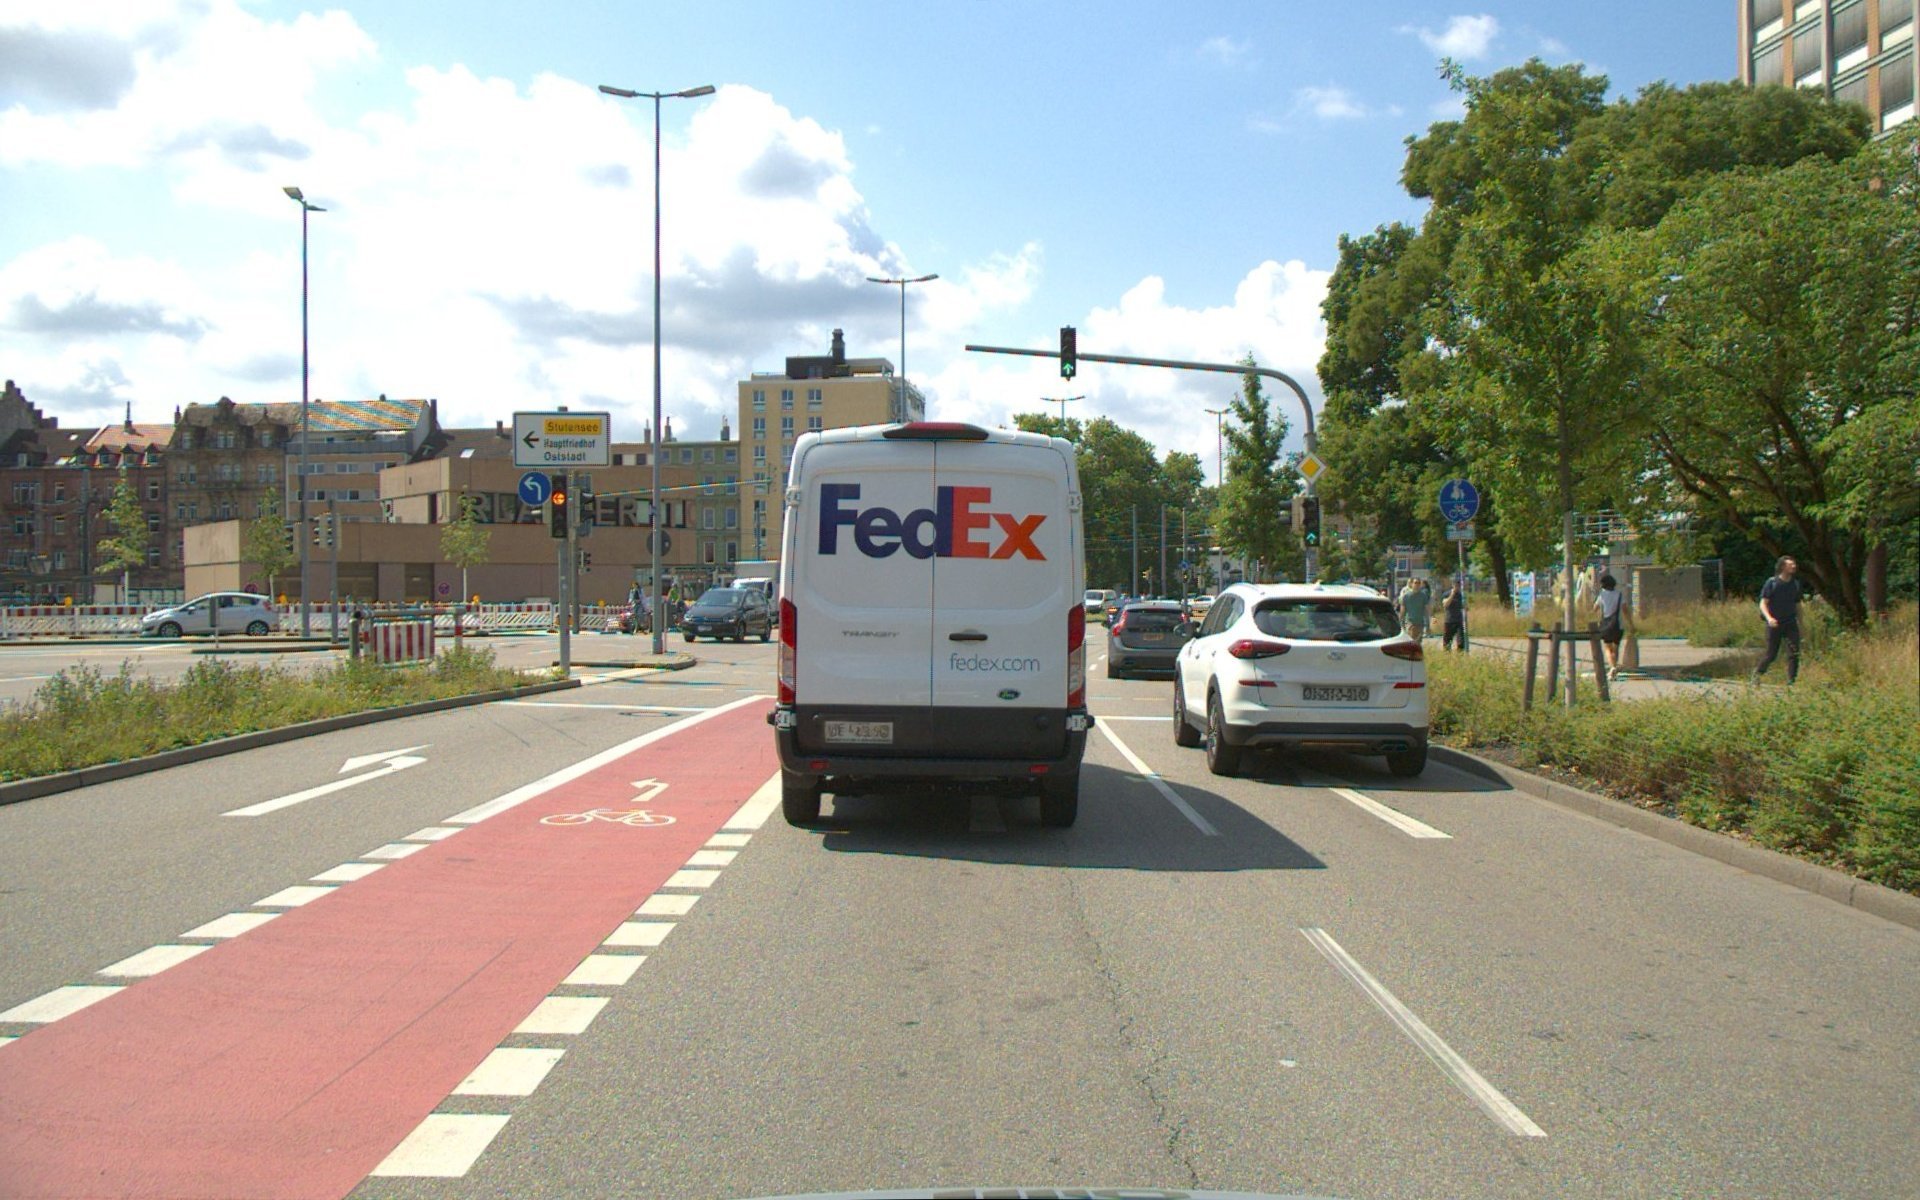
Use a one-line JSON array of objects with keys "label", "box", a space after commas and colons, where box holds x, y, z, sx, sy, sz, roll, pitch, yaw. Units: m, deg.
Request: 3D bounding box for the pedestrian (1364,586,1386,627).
[{"label": "pedestrian", "box": [19.476, 0.309, 77.642, 0.740, 1.853, 0.780, -4, -1, 1]}]

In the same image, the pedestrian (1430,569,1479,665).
[{"label": "pedestrian", "box": [9.388, 0.324, 31.403, 0.653, 1.777, 0.608, -2, 0, -7]}]

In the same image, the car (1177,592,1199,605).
[{"label": "car", "box": [28.907, -0.152, 209.416, 1.952, 1.601, 4.178, 1, -1, 20]}]

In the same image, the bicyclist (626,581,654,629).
[{"label": "bicyclist", "box": [-11.168, 0.176, 57.675, 0.760, 1.647, 0.843, -1, 0, 2]}]

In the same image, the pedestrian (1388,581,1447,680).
[{"label": "pedestrian", "box": [8.601, 0.556, 31.100, 0.735, 1.808, 0.880, -2, 0, -7]}]

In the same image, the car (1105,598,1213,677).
[{"label": "car", "box": [3.921, 0.710, 33.105, 1.875, 1.445, 3.920, 0, 0, 3]}]

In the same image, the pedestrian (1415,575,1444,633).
[{"label": "pedestrian", "box": [14.725, 0.121, 51.845, 0.734, 1.783, 0.610, -2, 0, 5]}]

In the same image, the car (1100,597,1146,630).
[{"label": "car", "box": [7.869, 0.618, 79.556, 1.841, 1.532, 4.159, 1, 0, 10]}]

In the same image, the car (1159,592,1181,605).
[{"label": "car", "box": [26.728, -0.175, 210.579, 1.952, 1.601, 4.178, 1, -1, 20]}]

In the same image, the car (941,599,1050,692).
[{"label": "car", "box": [0.638, 0.720, 28.046, 1.705, 1.416, 4.181, 0, 0, 2]}]

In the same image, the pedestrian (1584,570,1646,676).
[{"label": "pedestrian", "box": [10.220, 0.354, 25.834, 0.653, 1.624, 0.647, -2, 0, -2]}]

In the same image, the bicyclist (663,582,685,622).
[{"label": "bicyclist", "box": [-10.658, 0.079, 61.571, 0.553, 1.487, 0.837, -1, 0, 9]}]

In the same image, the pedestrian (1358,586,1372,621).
[{"label": "pedestrian", "box": [19.565, 0.176, 79.910, 0.575, 1.654, 0.728, 1, -1, 7]}]

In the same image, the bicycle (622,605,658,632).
[{"label": "bicycle", "box": [-11.161, 0.649, 57.732, 0.760, 0.905, 2.109, -1, 0, 2]}]

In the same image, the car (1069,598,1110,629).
[{"label": "car", "box": [8.720, 0.917, 111.091, 1.951, 2.049, 4.125, 1, -1, 16]}]

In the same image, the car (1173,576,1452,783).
[{"label": "car", "box": [3.146, 0.634, 15.608, 1.842, 1.670, 4.234, 0, 0, 2]}]

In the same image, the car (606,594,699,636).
[{"label": "car", "box": [-11.930, 0.566, 64.385, 1.951, 1.512, 3.908, -1, 0, 17]}]

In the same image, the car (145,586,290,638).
[{"label": "car", "box": [-23.116, 0.398, 51.523, 3.961, 1.534, 1.980, 1, -1, -30]}]

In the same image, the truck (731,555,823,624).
[{"label": "truck", "box": [-8.555, -0.425, 78.227, 1.951, 3.121, 7.336, 1, -1, 13]}]

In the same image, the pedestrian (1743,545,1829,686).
[{"label": "pedestrian", "box": [10.721, 0.201, 21.489, 0.734, 1.780, 0.667, -2, 0, -2]}]

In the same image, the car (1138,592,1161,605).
[{"label": "car", "box": [24.296, -0.203, 211.535, 1.952, 1.601, 4.178, 1, -1, 20]}]

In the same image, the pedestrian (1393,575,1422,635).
[{"label": "pedestrian", "box": [13.925, 0.144, 51.506, 0.734, 1.834, 0.610, -2, 0, 5]}]

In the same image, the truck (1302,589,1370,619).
[{"label": "truck", "box": [37.536, 0.341, 165.014, 2.842, 2.902, 8.742, -1, 0, 41]}]

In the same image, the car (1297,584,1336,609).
[{"label": "car", "box": [24.146, -0.248, 112.023, 1.843, 1.670, 3.955, 0, 0, 24]}]

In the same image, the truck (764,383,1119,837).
[{"label": "truck", "box": [-0.168, 0.065, 12.839, 2.093, 2.686, 5.915, 1, 0, -1]}]

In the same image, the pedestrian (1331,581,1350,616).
[{"label": "pedestrian", "box": [17.916, -0.064, 77.870, 0.740, 1.617, 0.761, 1, -1, 1]}]

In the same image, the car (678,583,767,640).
[{"label": "car", "box": [-7.196, 0.332, 50.539, 1.841, 1.652, 4.157, 1, 0, 4]}]

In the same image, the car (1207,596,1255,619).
[{"label": "car", "box": [23.281, 0.641, 141.953, 3.987, 1.959, 1.811, 1, -1, 12]}]

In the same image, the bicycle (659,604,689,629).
[{"label": "bicycle", "box": [-10.641, 0.605, 61.629, 0.555, 0.905, 1.745, -1, 0, 9]}]

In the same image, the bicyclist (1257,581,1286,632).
[{"label": "bicyclist", "box": [10.244, 0.224, 54.387, 0.810, 1.629, 0.580, -3, -2, 6]}]
